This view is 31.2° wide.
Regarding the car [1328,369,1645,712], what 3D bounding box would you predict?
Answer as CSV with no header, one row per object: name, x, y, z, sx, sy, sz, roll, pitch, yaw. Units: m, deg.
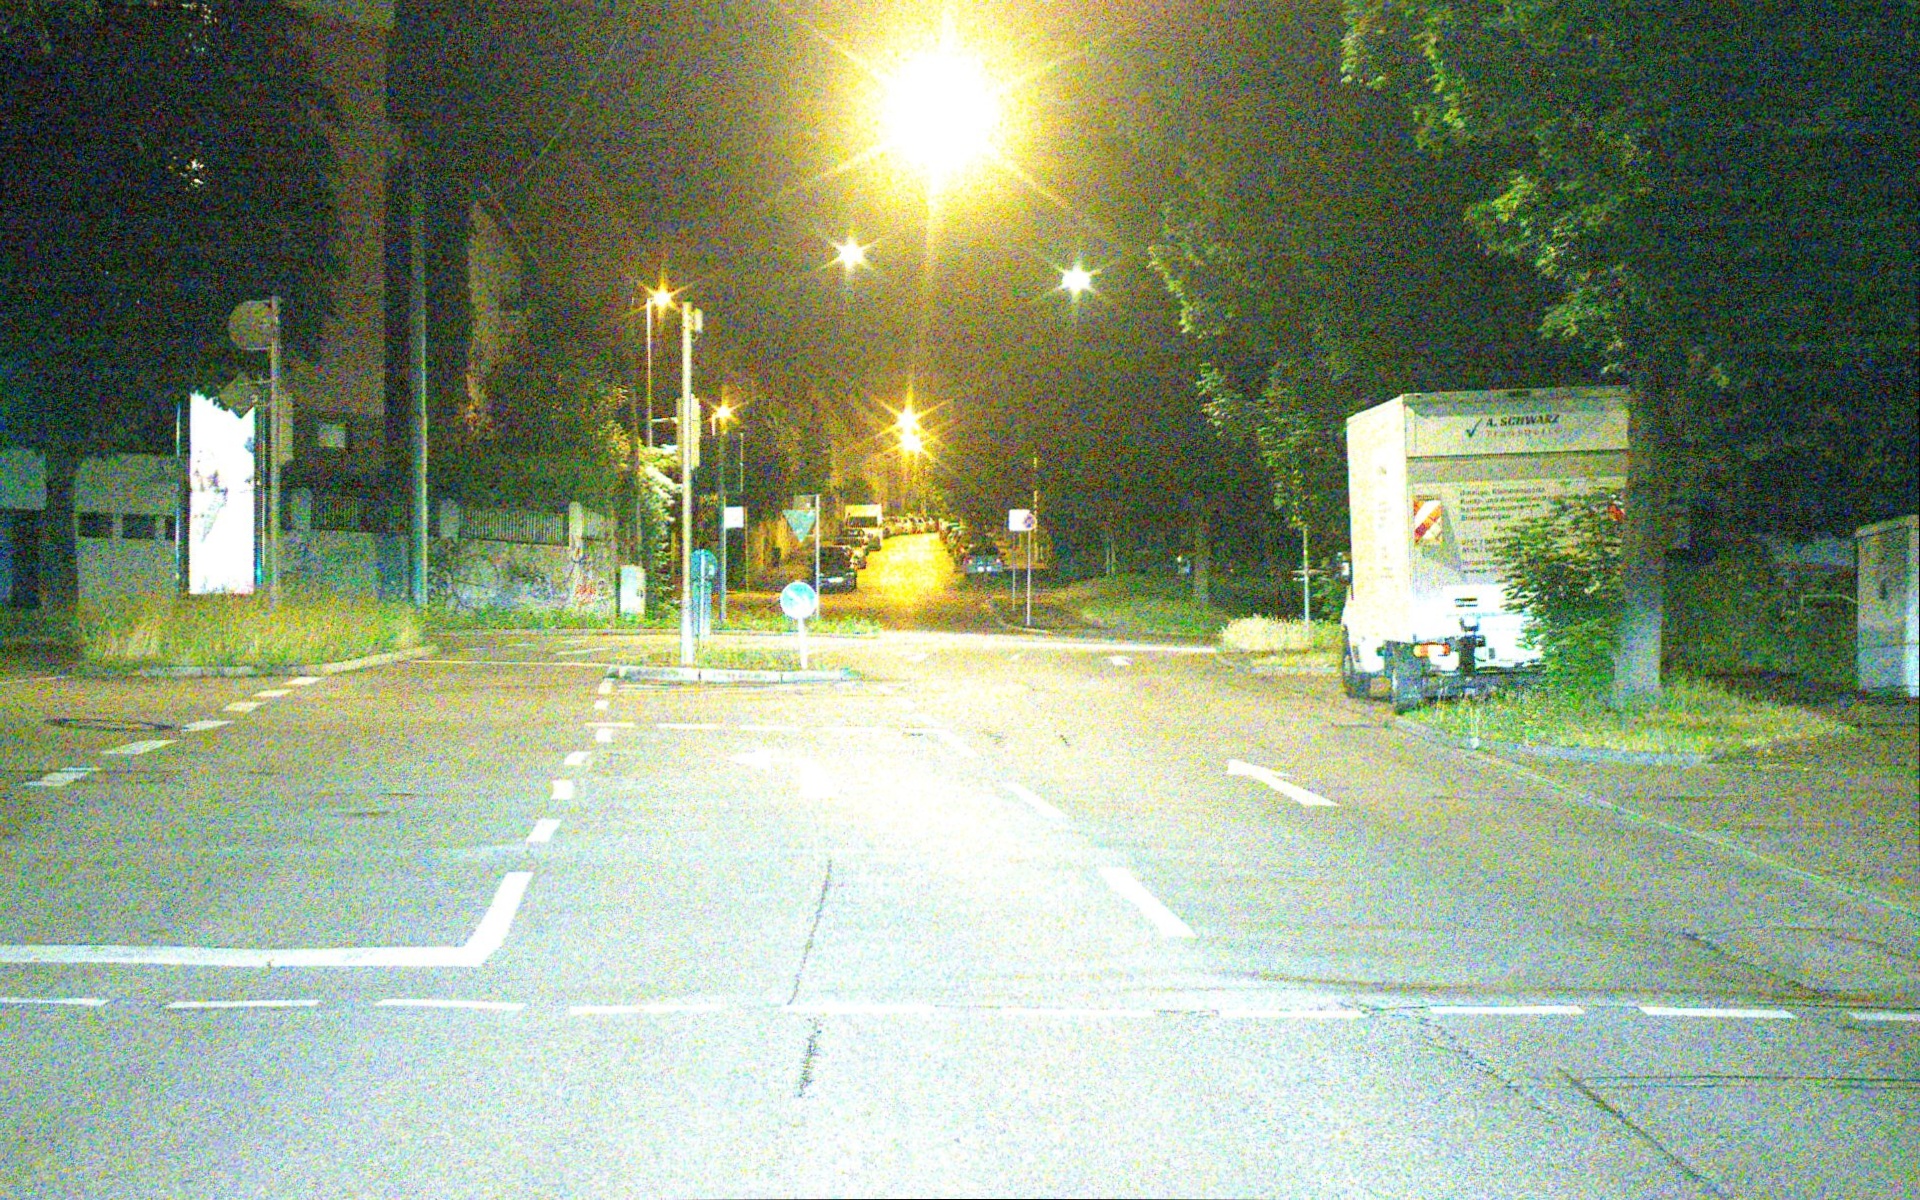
car,5.119,-0.573,34.286,2.297,3.082,5.840,-1,1,1

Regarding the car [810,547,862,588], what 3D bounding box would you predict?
car,-4.844,-1.290,134.428,1.908,1.552,3.904,1,1,-1
